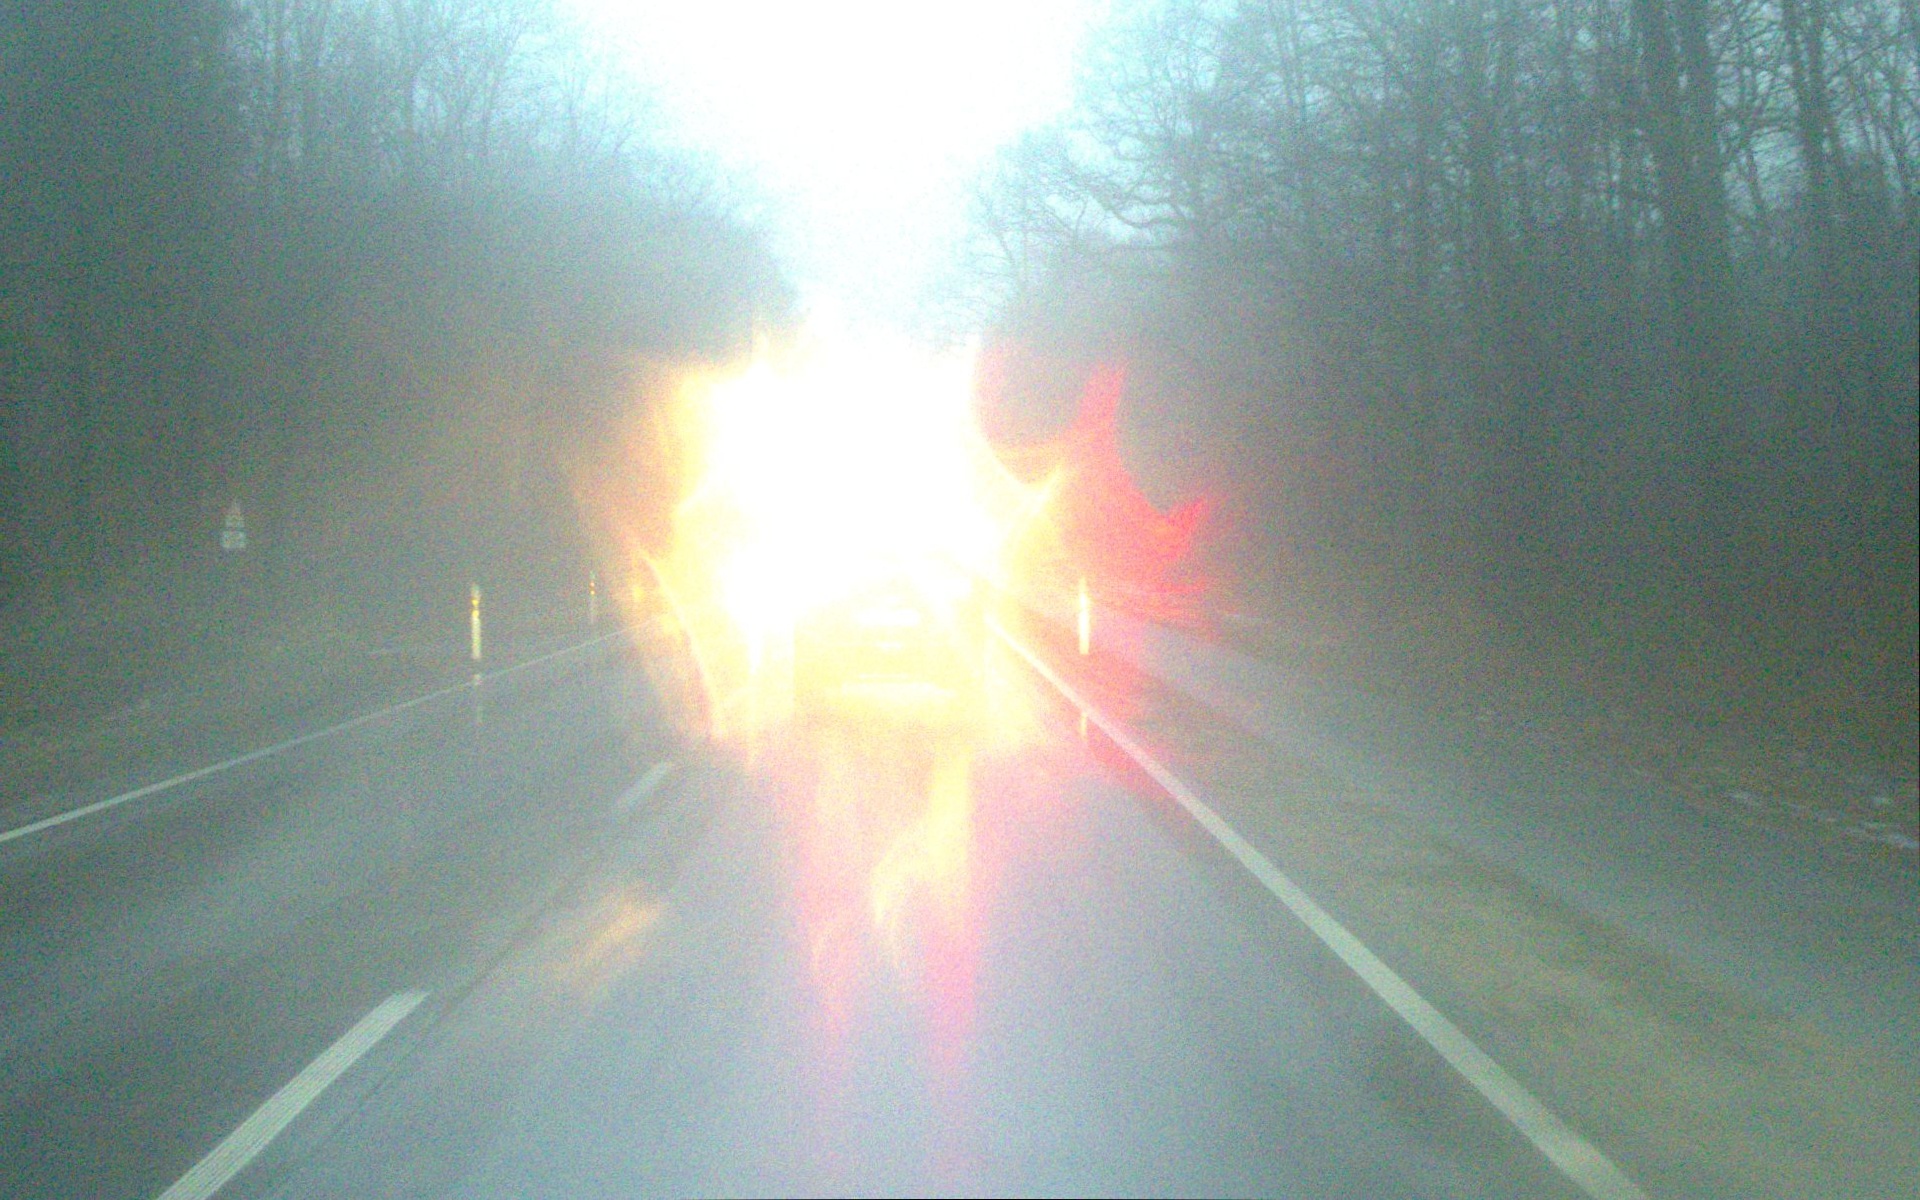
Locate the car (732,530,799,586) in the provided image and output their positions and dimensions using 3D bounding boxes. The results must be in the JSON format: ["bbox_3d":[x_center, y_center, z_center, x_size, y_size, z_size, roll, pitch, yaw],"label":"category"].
[{"bbox_3d":[-5.793,-1.261,102.606,1.800,1.595,3.862,-2,1,-1],"label":"car"}]

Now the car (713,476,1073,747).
[{"bbox_3d":[-0.593,0.054,33.917,3.183,2.378,6.636,1,1,0],"label":"car"}]
